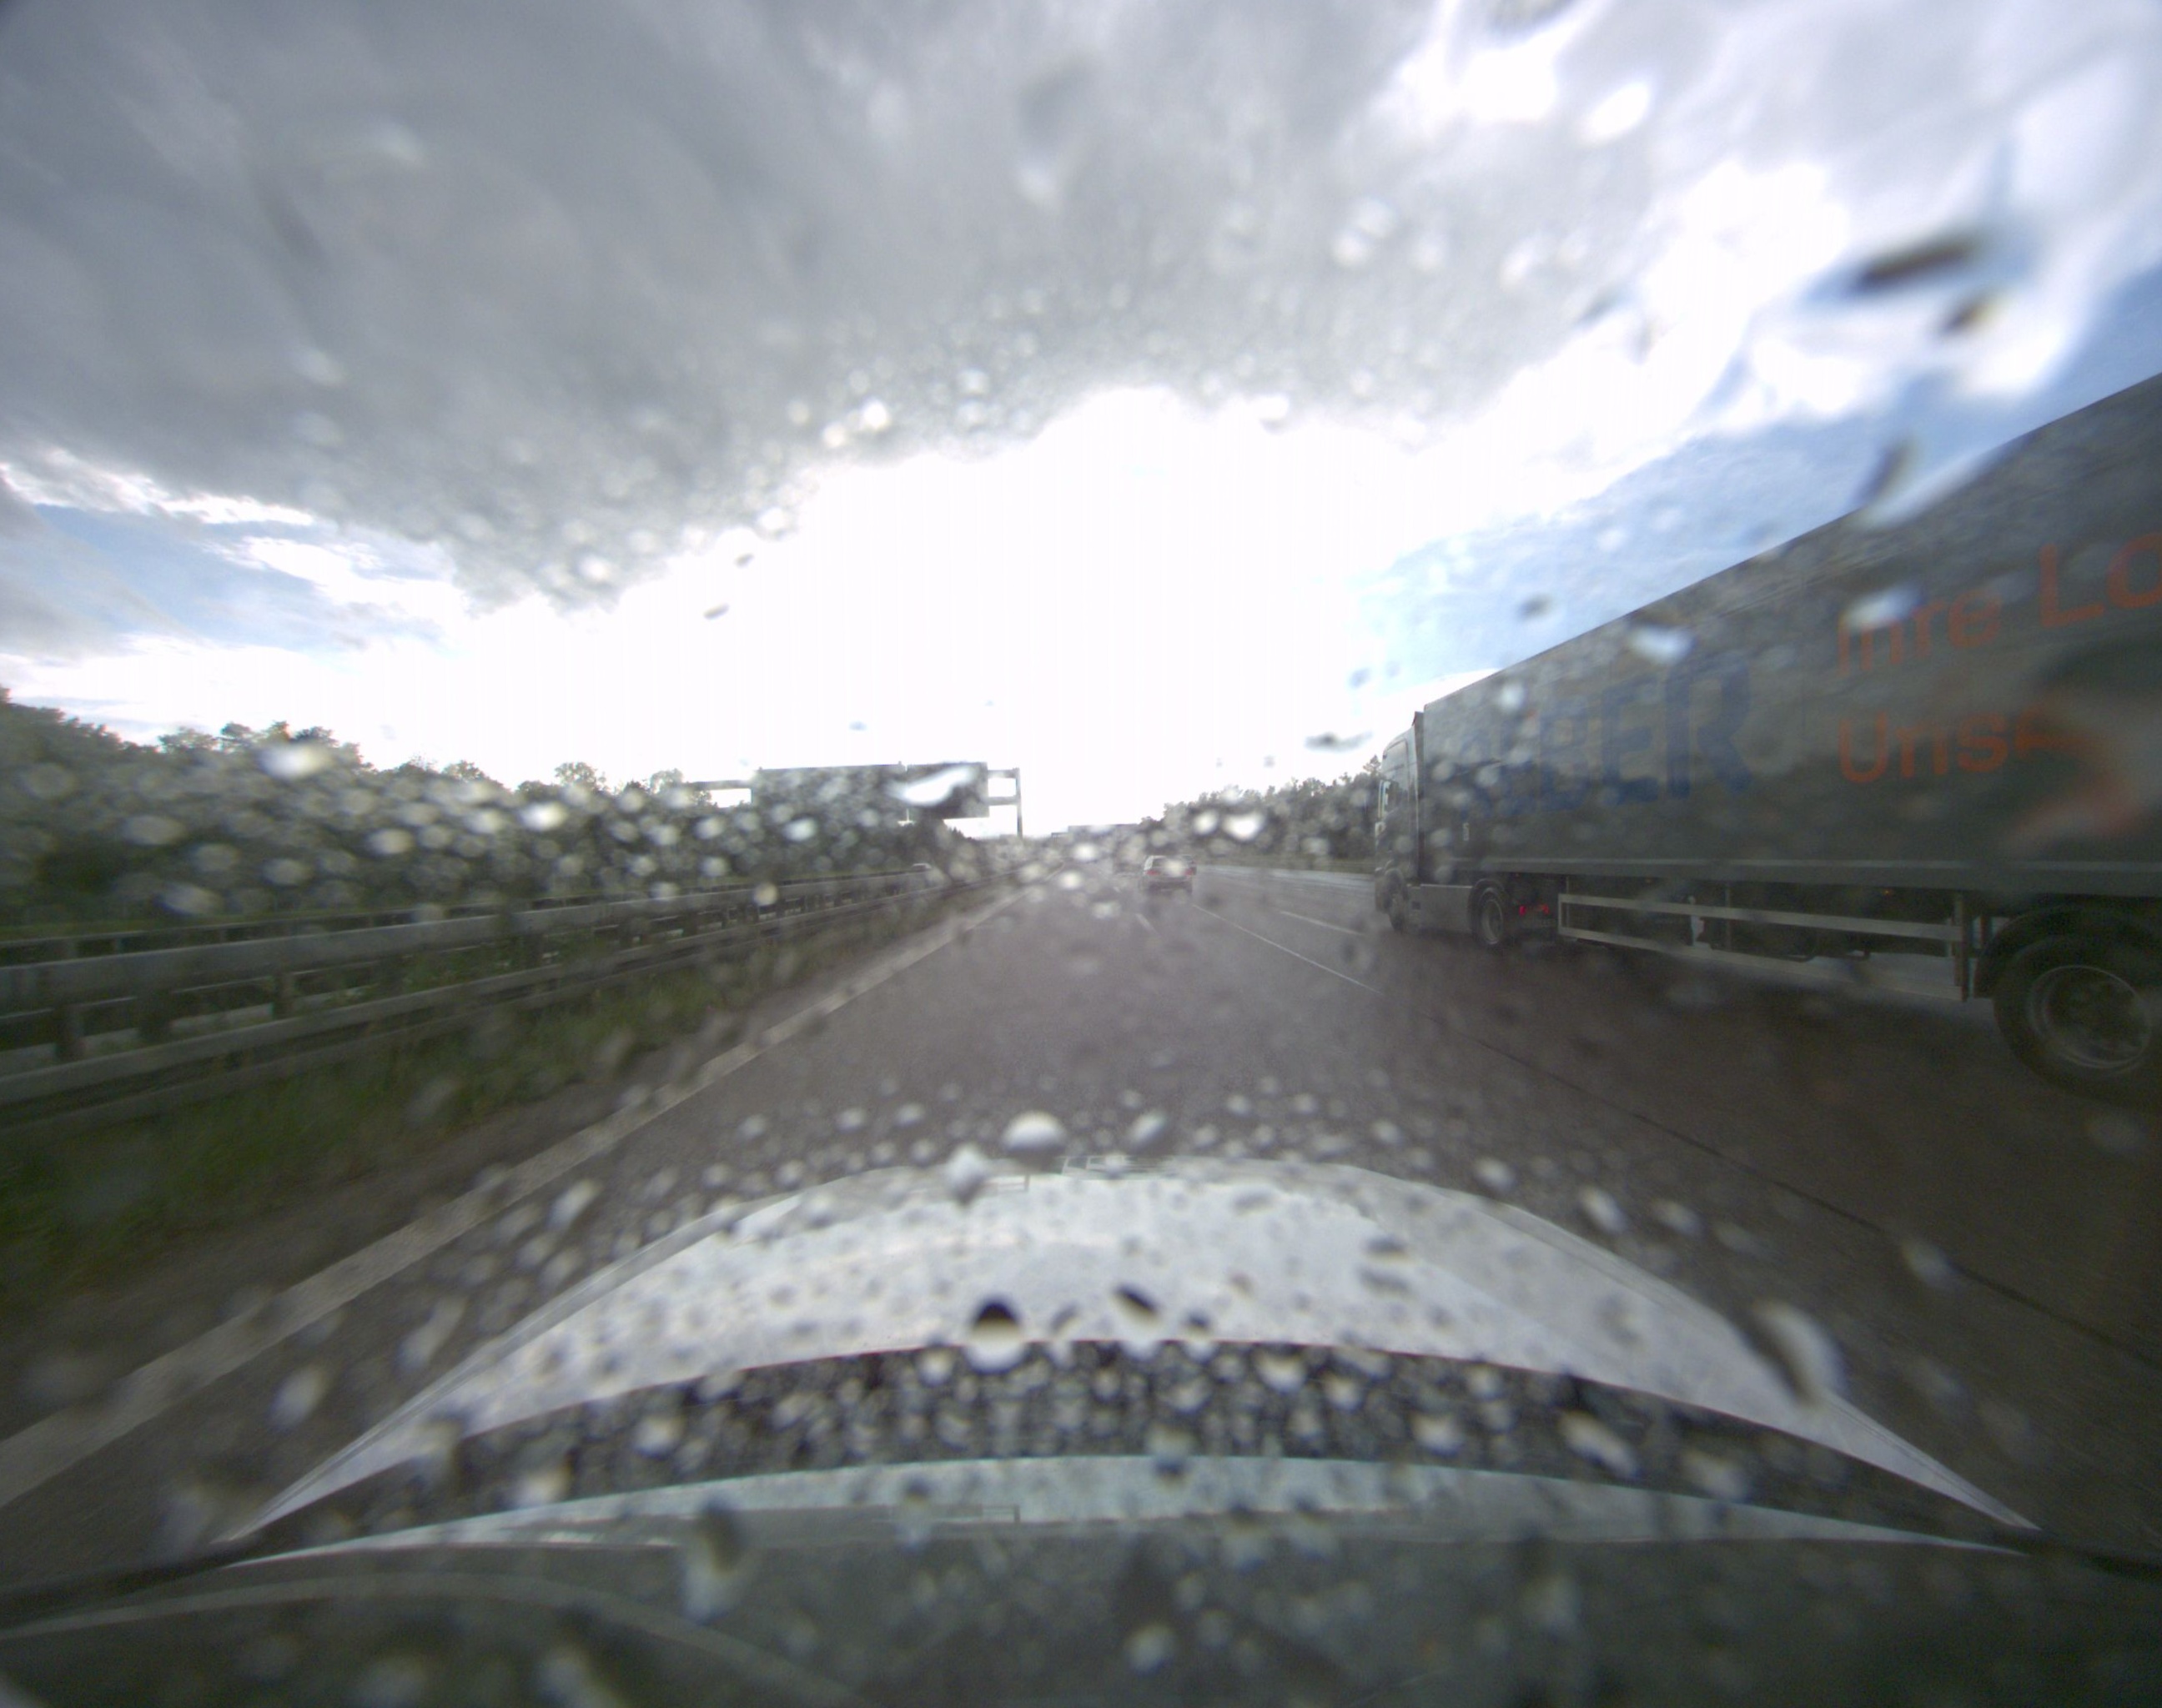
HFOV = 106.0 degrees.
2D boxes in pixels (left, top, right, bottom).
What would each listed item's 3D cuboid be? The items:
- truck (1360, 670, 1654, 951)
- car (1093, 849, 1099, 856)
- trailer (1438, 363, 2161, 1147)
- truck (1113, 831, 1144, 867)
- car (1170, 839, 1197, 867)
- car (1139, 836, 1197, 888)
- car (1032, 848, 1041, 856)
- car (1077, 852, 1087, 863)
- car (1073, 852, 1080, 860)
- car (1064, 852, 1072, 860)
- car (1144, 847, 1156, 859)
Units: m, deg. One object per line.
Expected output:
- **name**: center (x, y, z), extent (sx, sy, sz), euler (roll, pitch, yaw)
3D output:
- **truck**: center (6.843, -0.615, 14.012), extent (2.285, 3.868, 5.393), euler (-1, 0, 1)
- **car**: center (4.558, -0.570, 246.876), extent (1.986, 2.013, 4.002), euler (0, 0, 2)
- **trailer**: center (6.708, -0.521, 6.069), extent (2.316, 4.001, 13.413), euler (-1, 0, 1)
- **truck**: center (3.496, -0.359, 59.427), extent (2.128, 2.489, 5.319), euler (-1, 0, 4)
- **car**: center (7.755, -0.114, 61.808), extent (1.899, 2.013, 4.006), euler (-1, 0, 5)
- **car**: center (3.438, 0.283, 32.276), extent (2.067, 1.885, 5.019), euler (-1, 0, 6)
- **car**: center (-11.915, -0.494, 217.762), extent (1.986, 2.013, 4.001), euler (-1, 0, 2)
- **car**: center (0.216, 0.648, 155.955), extent (1.668, 2.013, 4.002), euler (0, 0, 2)
- **car**: center (-1.170, 0.538, 212.651), extent (1.611, 2.013, 4.001), euler (0, 0, 1)
- **car**: center (-3.313, 0.542, 209.615), extent (1.986, 2.013, 4.001), euler (-1, 0, 2)
- **car**: center (11.456, -0.216, 135.872), extent (1.984, 2.013, 4.006), euler (0, 0, 5)
